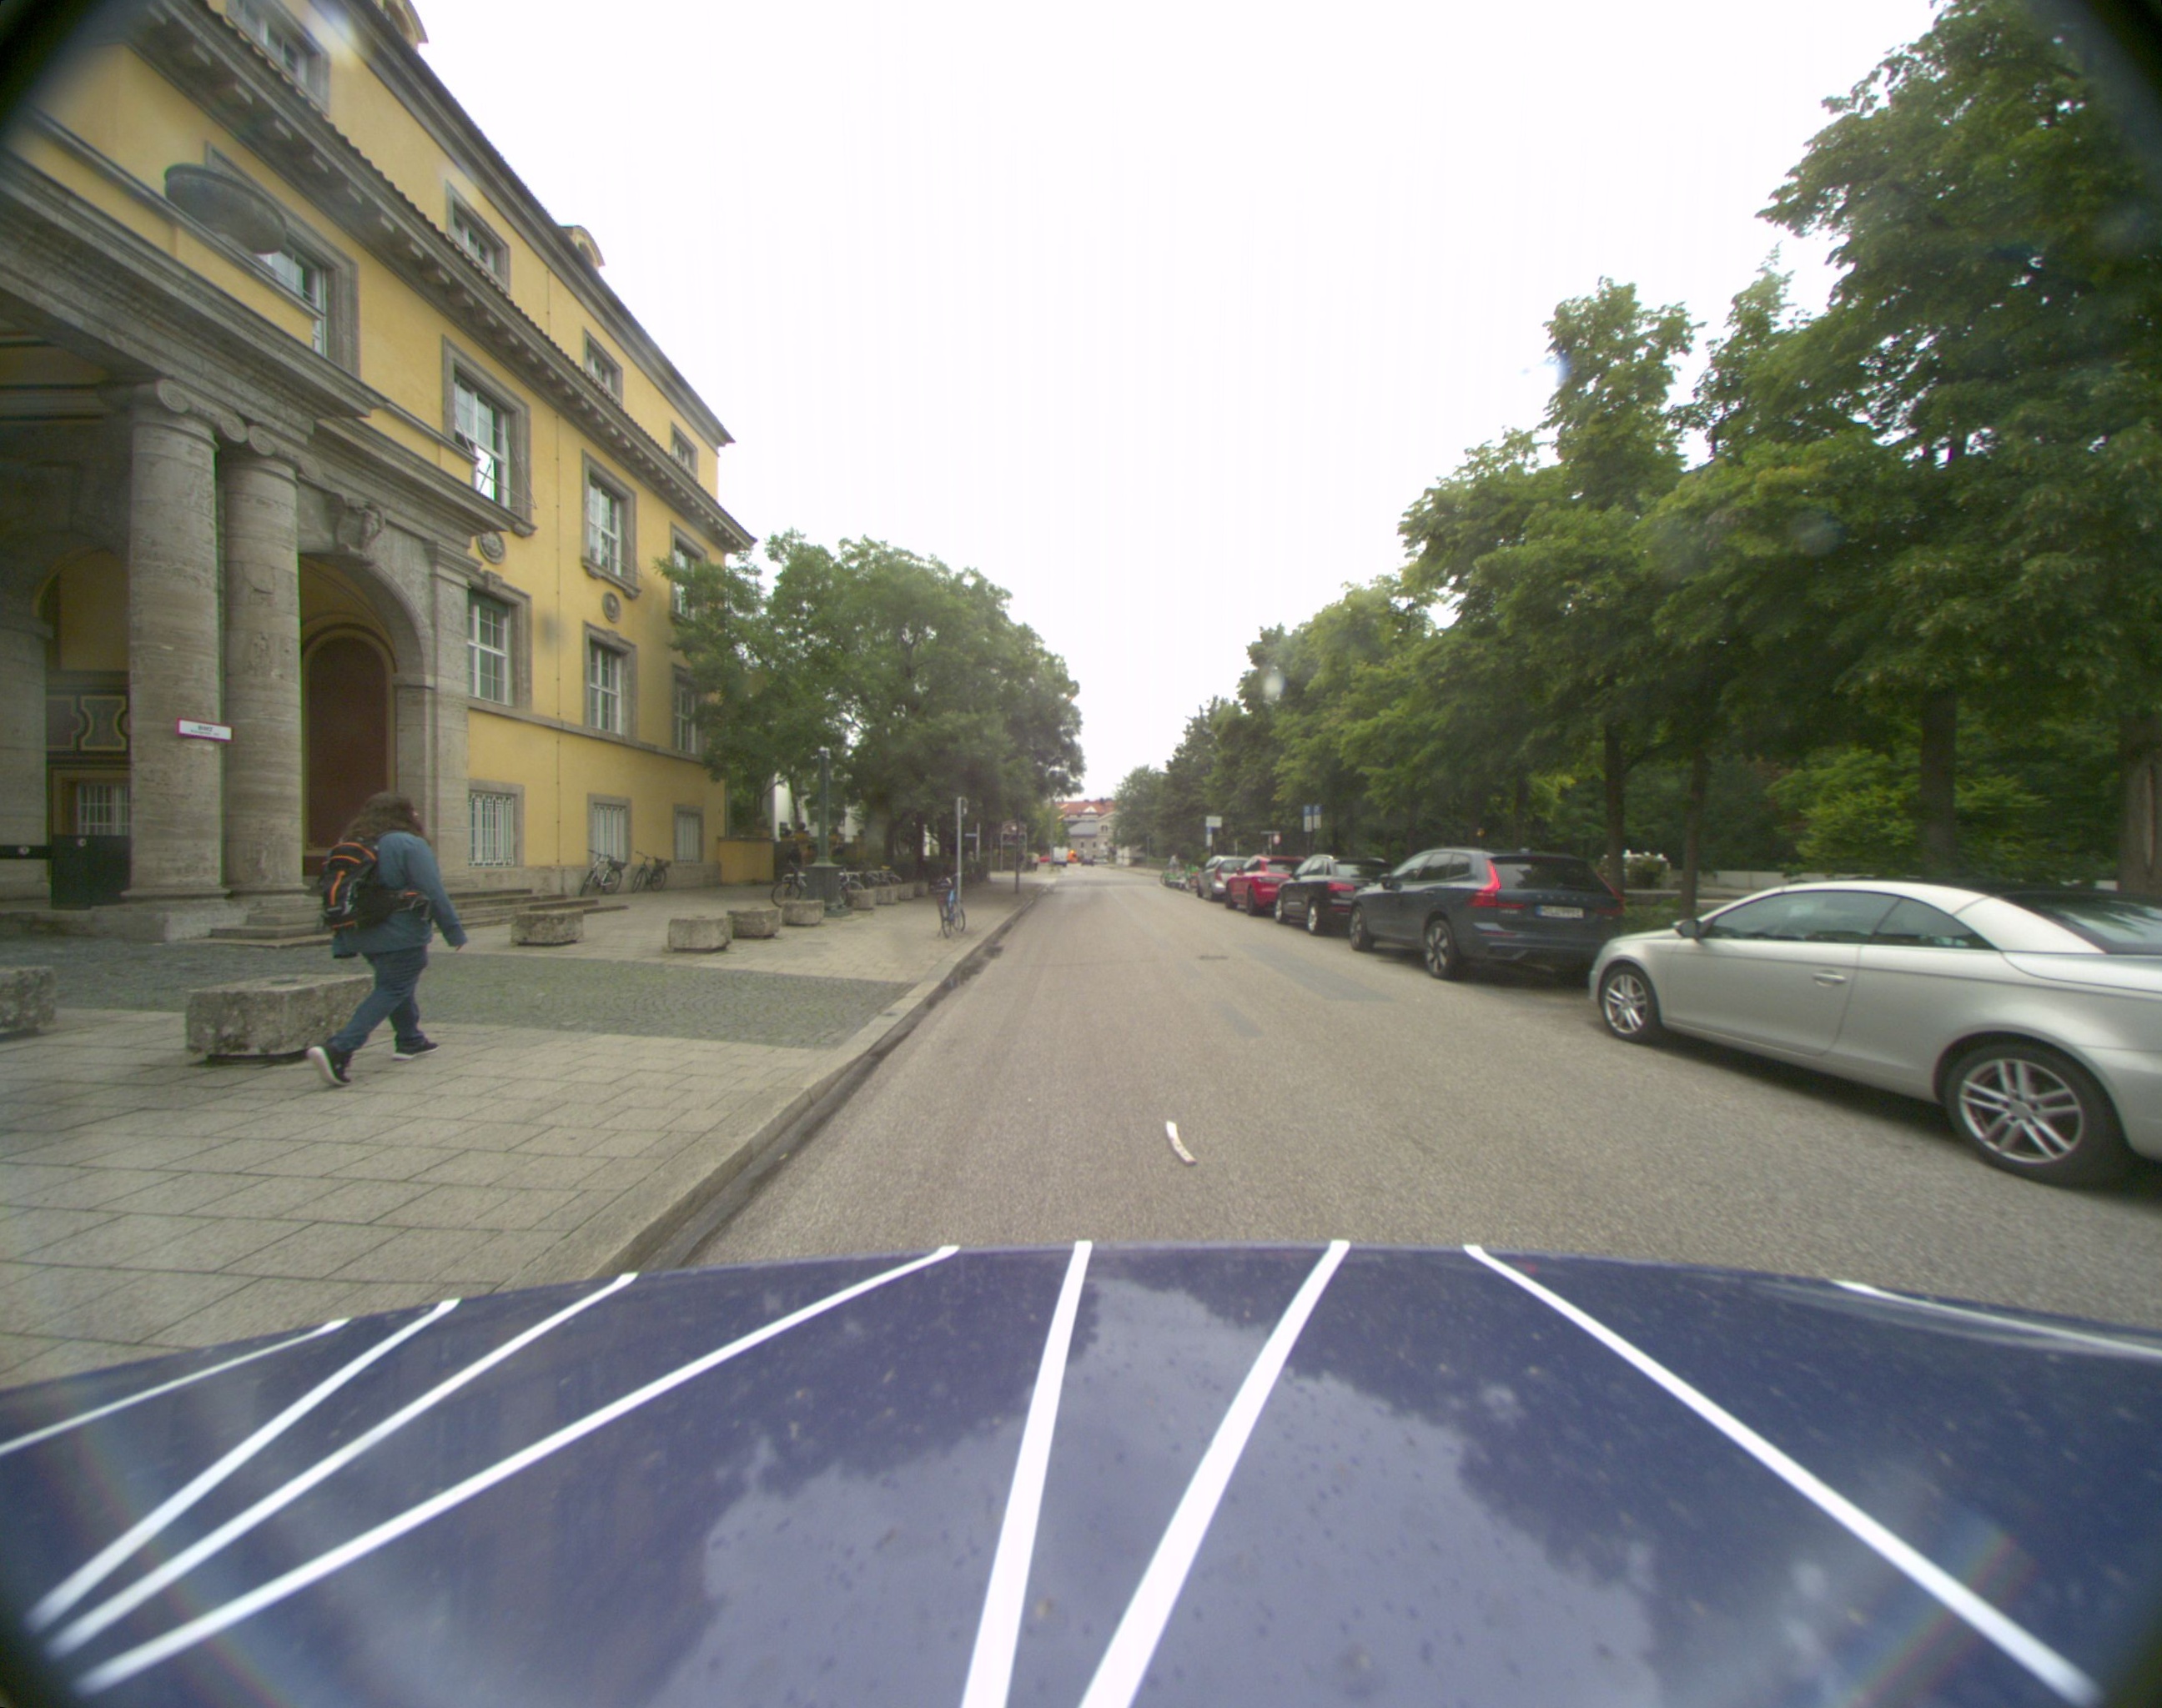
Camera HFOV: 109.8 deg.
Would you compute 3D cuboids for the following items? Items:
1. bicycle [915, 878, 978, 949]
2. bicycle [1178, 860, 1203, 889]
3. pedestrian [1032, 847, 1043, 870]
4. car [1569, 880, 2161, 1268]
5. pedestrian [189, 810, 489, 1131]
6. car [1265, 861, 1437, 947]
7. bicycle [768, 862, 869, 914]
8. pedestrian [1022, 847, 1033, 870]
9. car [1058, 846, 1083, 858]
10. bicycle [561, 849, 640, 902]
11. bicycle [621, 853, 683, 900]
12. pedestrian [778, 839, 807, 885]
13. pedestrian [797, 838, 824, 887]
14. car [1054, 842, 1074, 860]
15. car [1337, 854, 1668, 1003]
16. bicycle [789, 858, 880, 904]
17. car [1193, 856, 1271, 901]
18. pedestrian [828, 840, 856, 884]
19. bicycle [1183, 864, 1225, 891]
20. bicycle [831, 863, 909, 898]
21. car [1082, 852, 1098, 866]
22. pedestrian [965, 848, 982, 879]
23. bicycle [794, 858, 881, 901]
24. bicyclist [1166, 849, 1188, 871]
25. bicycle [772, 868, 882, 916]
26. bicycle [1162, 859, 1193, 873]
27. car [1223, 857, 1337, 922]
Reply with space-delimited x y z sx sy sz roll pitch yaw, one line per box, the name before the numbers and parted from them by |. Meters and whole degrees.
bicycle | -2.465 1.064 14.185 0.762 1.094 2.263 2 1 -1
bicycle | 4.938 0.911 34.201 0.574 1.275 1.421 -1 1 32
pedestrian | -3.592 0.332 62.840 0.777 1.855 0.997 -3 1 -6
car | 5.205 0.975 4.621 1.762 1.392 4.217 3 0 1
pedestrian | -4.419 0.631 4.635 0.790 1.736 1.055 1 1 0
car | 5.395 0.917 15.920 1.998 1.452 4.647 1 0 1
bicycle | -6.595 0.846 19.170 2.265 1.088 0.601 5 1 -11
pedestrian | -4.484 0.366 63.348 0.777 1.855 0.996 -3 1 -8
car | -2.239 -0.398 165.560 4.974 2.521 2.578 -2 2 43
bicycle | -12.469 0.519 19.802 0.601 1.299 2.264 1 1 0
bicycle | -12.466 0.619 22.161 0.601 1.299 2.164 1 1 0
pedestrian | -11.234 0.302 29.606 0.741 1.734 0.841 3 1 0
pedestrian | -10.527 0.304 29.609 0.659 1.854 0.820 3 1 0
car | -2.353 -0.437 102.697 2.236 2.289 4.728 -3 1 -5
car | 5.300 0.804 10.440 1.999 1.574 4.521 1 0 0
bicycle | -6.810 0.741 21.102 2.265 1.053 0.601 5 1 -11
car | 5.350 0.814 27.416 1.998 1.452 4.364 1 0 1
pedestrian | -10.376 0.346 33.031 0.782 1.854 1.035 3 1 0
bicycle | 5.295 0.994 32.676 1.700 1.101 0.598 -1 1 -8
bicycle | -6.701 0.846 24.170 2.262 1.005 0.602 2 0 2
car | 1.304 0.667 110.468 2.222 1.840 4.730 -3 1 0
pedestrian | -6.160 0.511 43.480 0.798 1.722 0.660 -3 1 -1
bicycle | -7.033 0.742 22.014 2.265 1.018 0.601 5 1 -11
bicyclist | 7.106 0.438 56.154 1.303 1.536 0.893 -2 2 32
bicycle | -6.030 0.902 18.138 2.370 1.000 0.677 3 0 -9
bicycle | 7.131 0.879 56.176 2.162 0.984 0.789 -2 1 32
car | 5.233 0.870 20.603 1.998 1.535 4.364 1 0 1
